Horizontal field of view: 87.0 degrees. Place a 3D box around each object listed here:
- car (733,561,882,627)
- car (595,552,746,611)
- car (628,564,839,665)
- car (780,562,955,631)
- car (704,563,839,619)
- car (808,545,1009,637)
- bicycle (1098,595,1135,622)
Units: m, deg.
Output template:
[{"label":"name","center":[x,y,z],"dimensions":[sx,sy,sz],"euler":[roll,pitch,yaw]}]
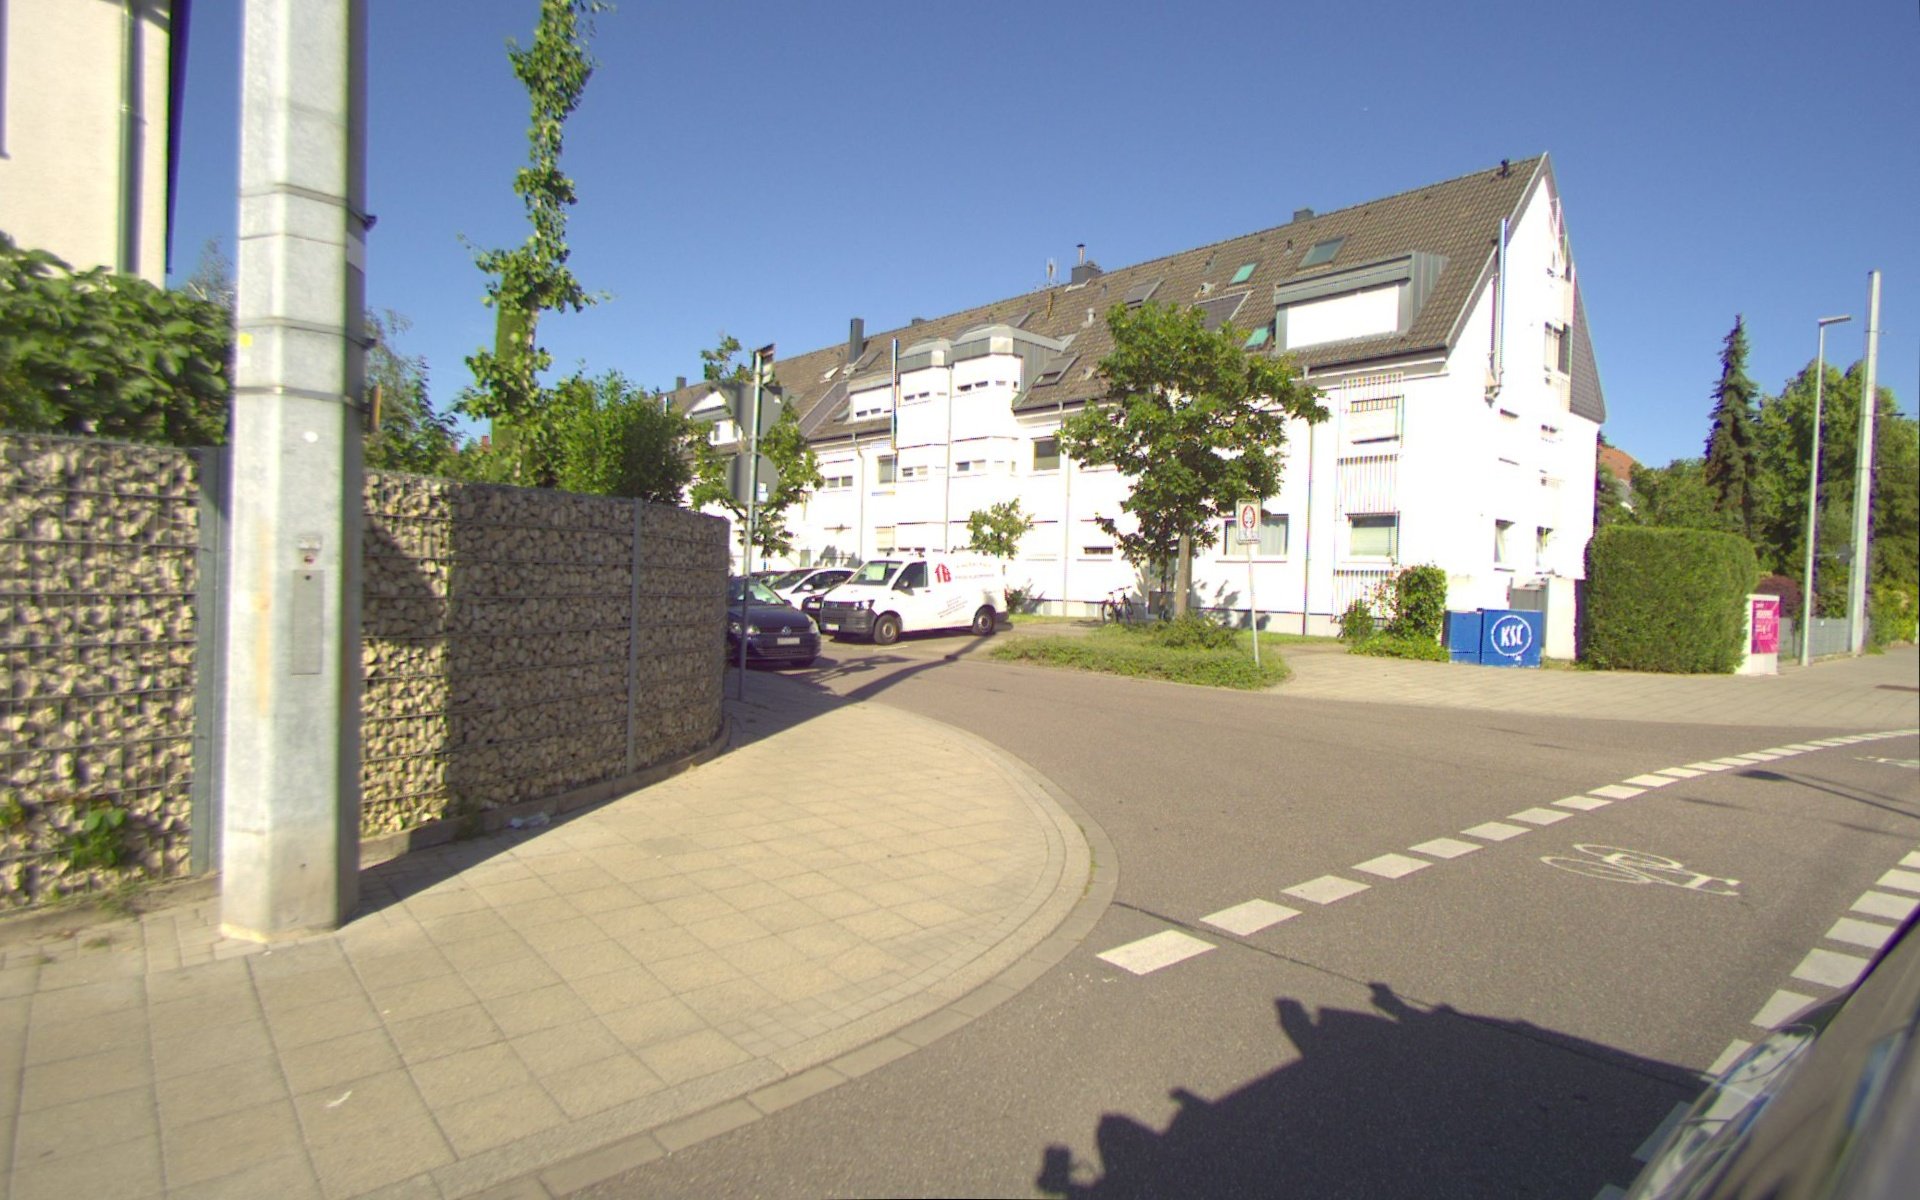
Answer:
[{"label":"car","center":[-4.146,-0.215,27.811],"dimensions":[3.726,1.611,1.694],"euler":[-2,5,-43]},{"label":"car","center":[-9.505,-0.584,33.461],"dimensions":[4.512,1.835,1.706],"euler":[1,2,-44]},{"label":"car","center":[-3.838,0.160,16.648],"dimensions":[1.823,1.390,3.998],"euler":[1,2,-38]},{"label":"car","center":[-2.336,-0.160,26.347],"dimensions":[4.473,1.612,1.694],"euler":[-2,4,-43]},{"label":"car","center":[-5.558,-0.305,30.042],"dimensions":[3.726,1.508,1.524],"euler":[-2,4,-43]},{"label":"car","center":[-1.121,-0.236,23.760],"dimensions":[4.567,1.973,1.833],"euler":[0,2,-42]},{"label":"bicycle","center":[4.137,0.218,26.764],"dimensions":[0.307,0.686,1.401],"euler":[0,0,39]}]
